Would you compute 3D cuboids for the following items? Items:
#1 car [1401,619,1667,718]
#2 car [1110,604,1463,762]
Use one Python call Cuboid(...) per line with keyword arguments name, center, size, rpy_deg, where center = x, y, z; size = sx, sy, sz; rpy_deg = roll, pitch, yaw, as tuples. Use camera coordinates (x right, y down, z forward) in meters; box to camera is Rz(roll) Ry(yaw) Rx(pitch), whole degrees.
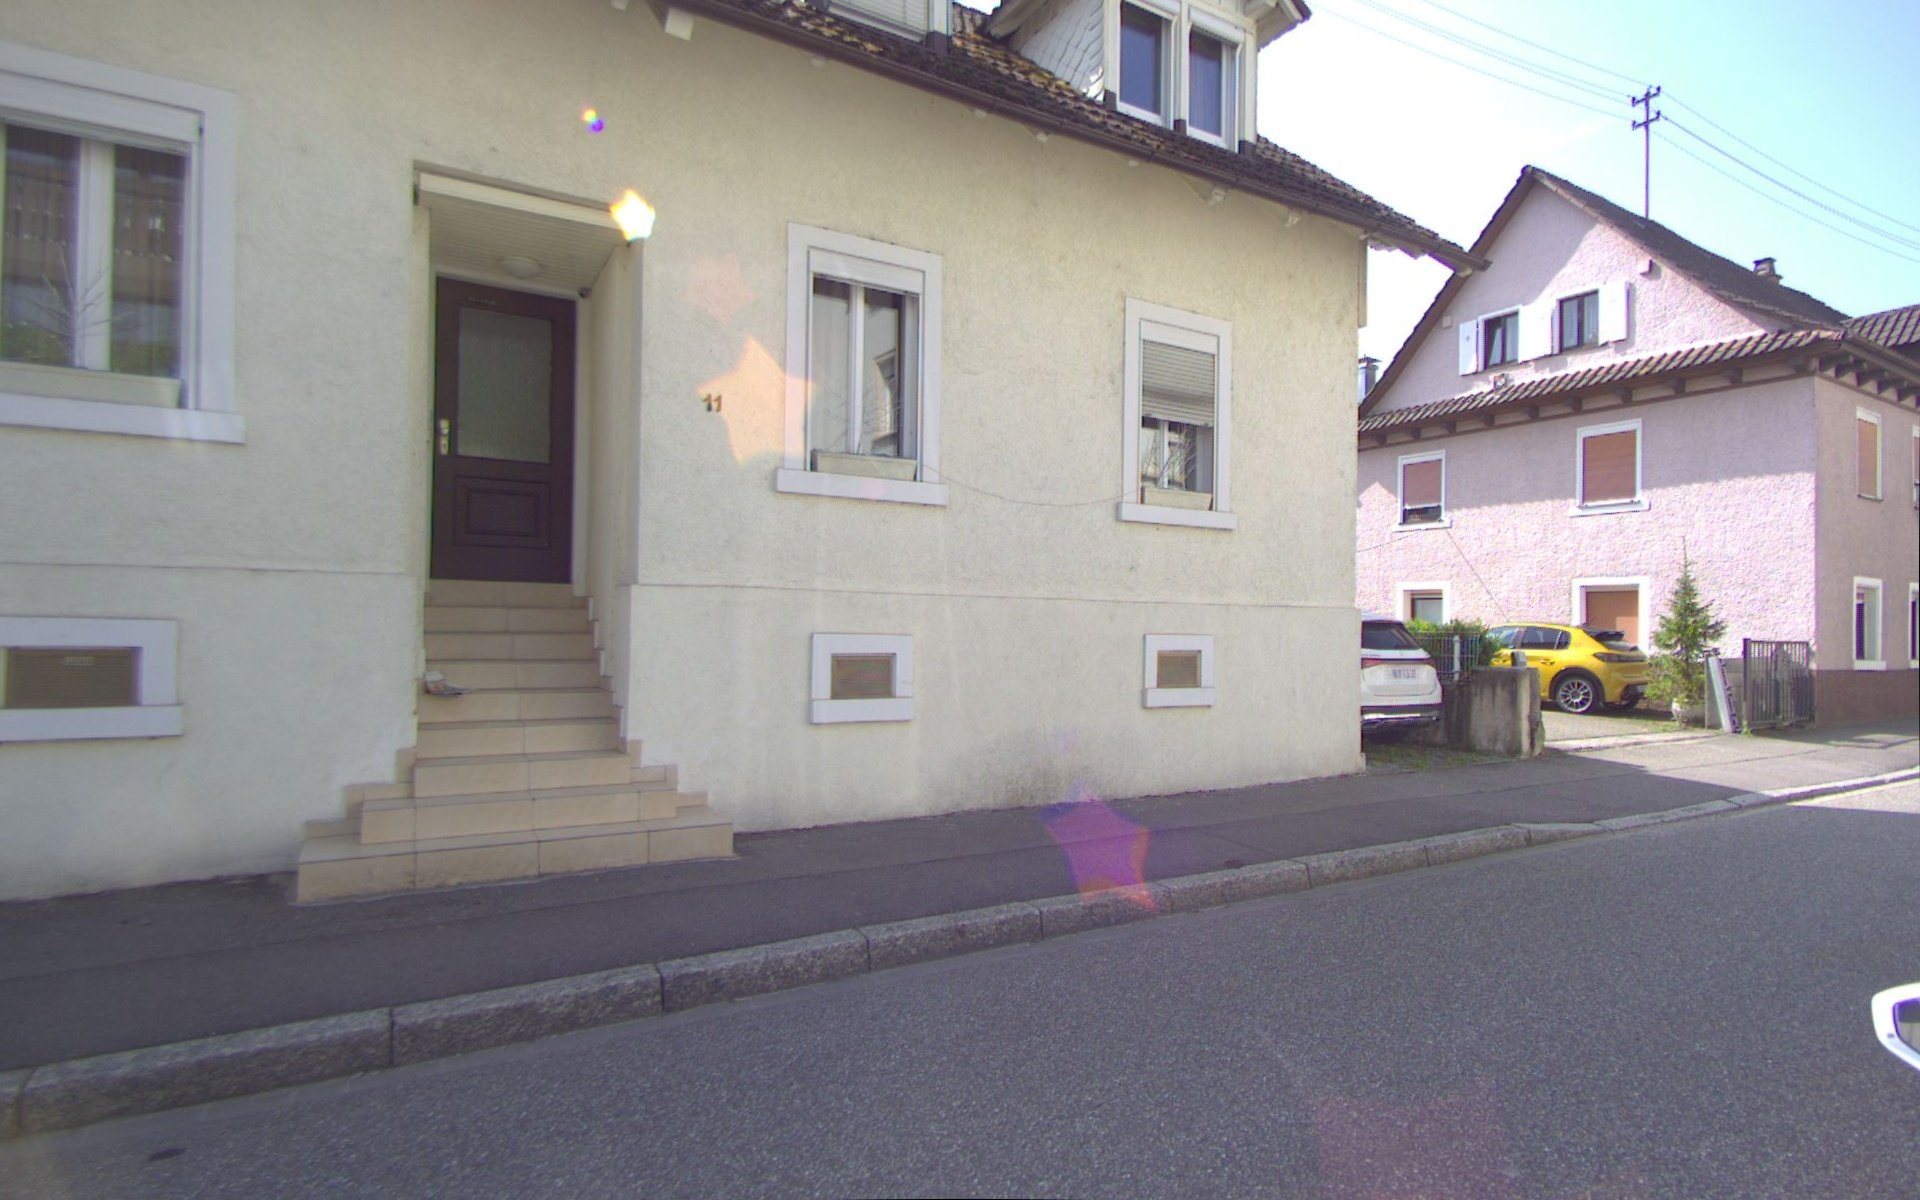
Cuboid(name="car", center=(9.919, 1.104, 17.607), size=(1.628, 1.411, 3.728), rpy_deg=(0, 1, -33))
Cuboid(name="car", center=(3.934, 0.898, 12.716), size=(1.887, 1.615, 3.964), rpy_deg=(1, 0, -33))
